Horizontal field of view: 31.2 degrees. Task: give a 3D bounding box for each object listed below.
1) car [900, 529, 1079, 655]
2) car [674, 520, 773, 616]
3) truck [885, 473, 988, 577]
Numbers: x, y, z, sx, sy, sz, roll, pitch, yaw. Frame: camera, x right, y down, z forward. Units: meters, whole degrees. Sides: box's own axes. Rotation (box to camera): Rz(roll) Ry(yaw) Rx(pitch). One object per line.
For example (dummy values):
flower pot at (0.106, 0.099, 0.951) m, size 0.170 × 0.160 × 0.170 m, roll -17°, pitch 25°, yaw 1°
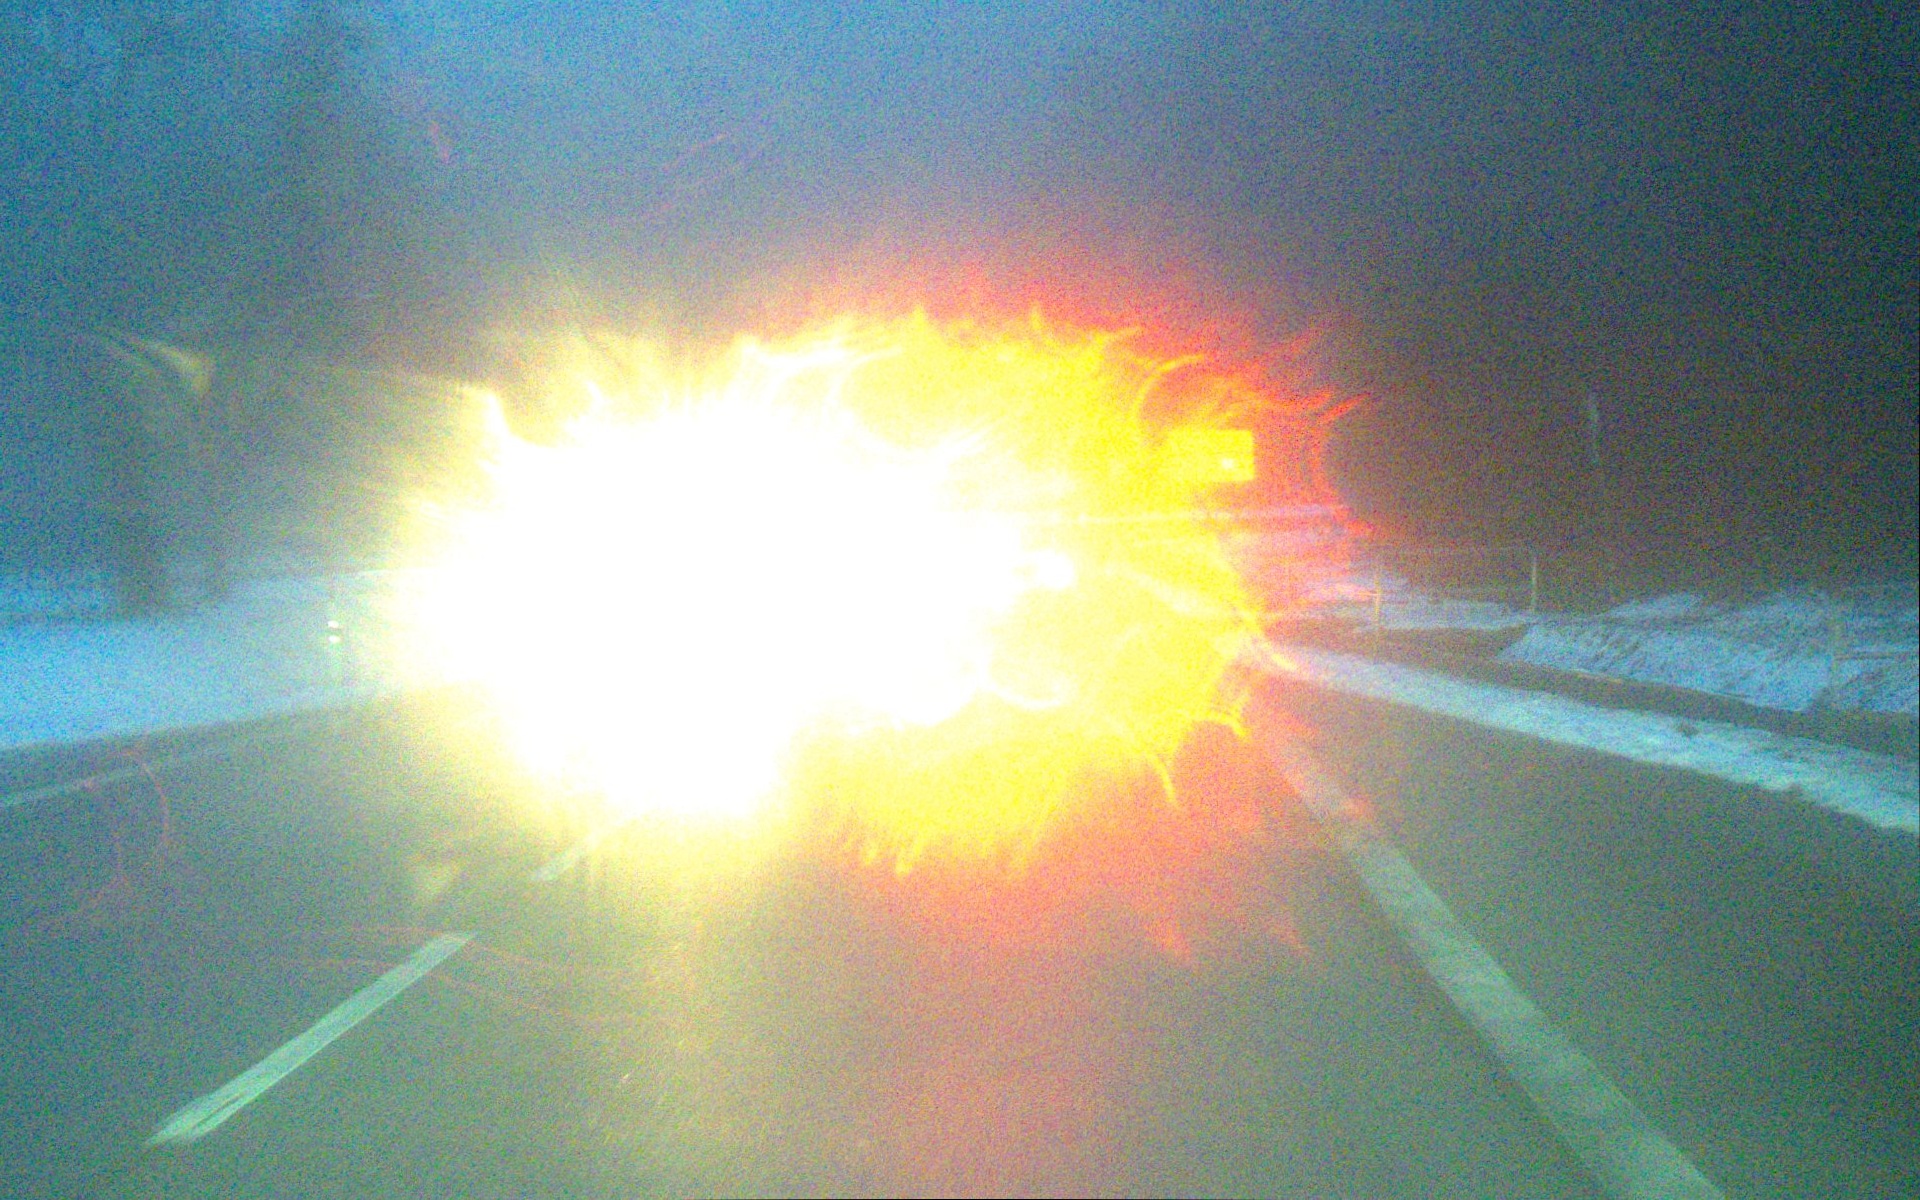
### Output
car at (0.294, -0.134, 40.407) m, size 1.922 × 1.272 × 4.001 m, roll -2°, pitch 3°, yaw -2°
car at (-4.534, -0.637, 65.565) m, size 1.751 × 1.687 × 4.427 m, roll -3°, pitch 1°, yaw -5°
truck at (-0.692, -2.065, 94.980) m, size 2.075 × 2.736 × 5.321 m, roll -1°, pitch 1°, yaw -8°
